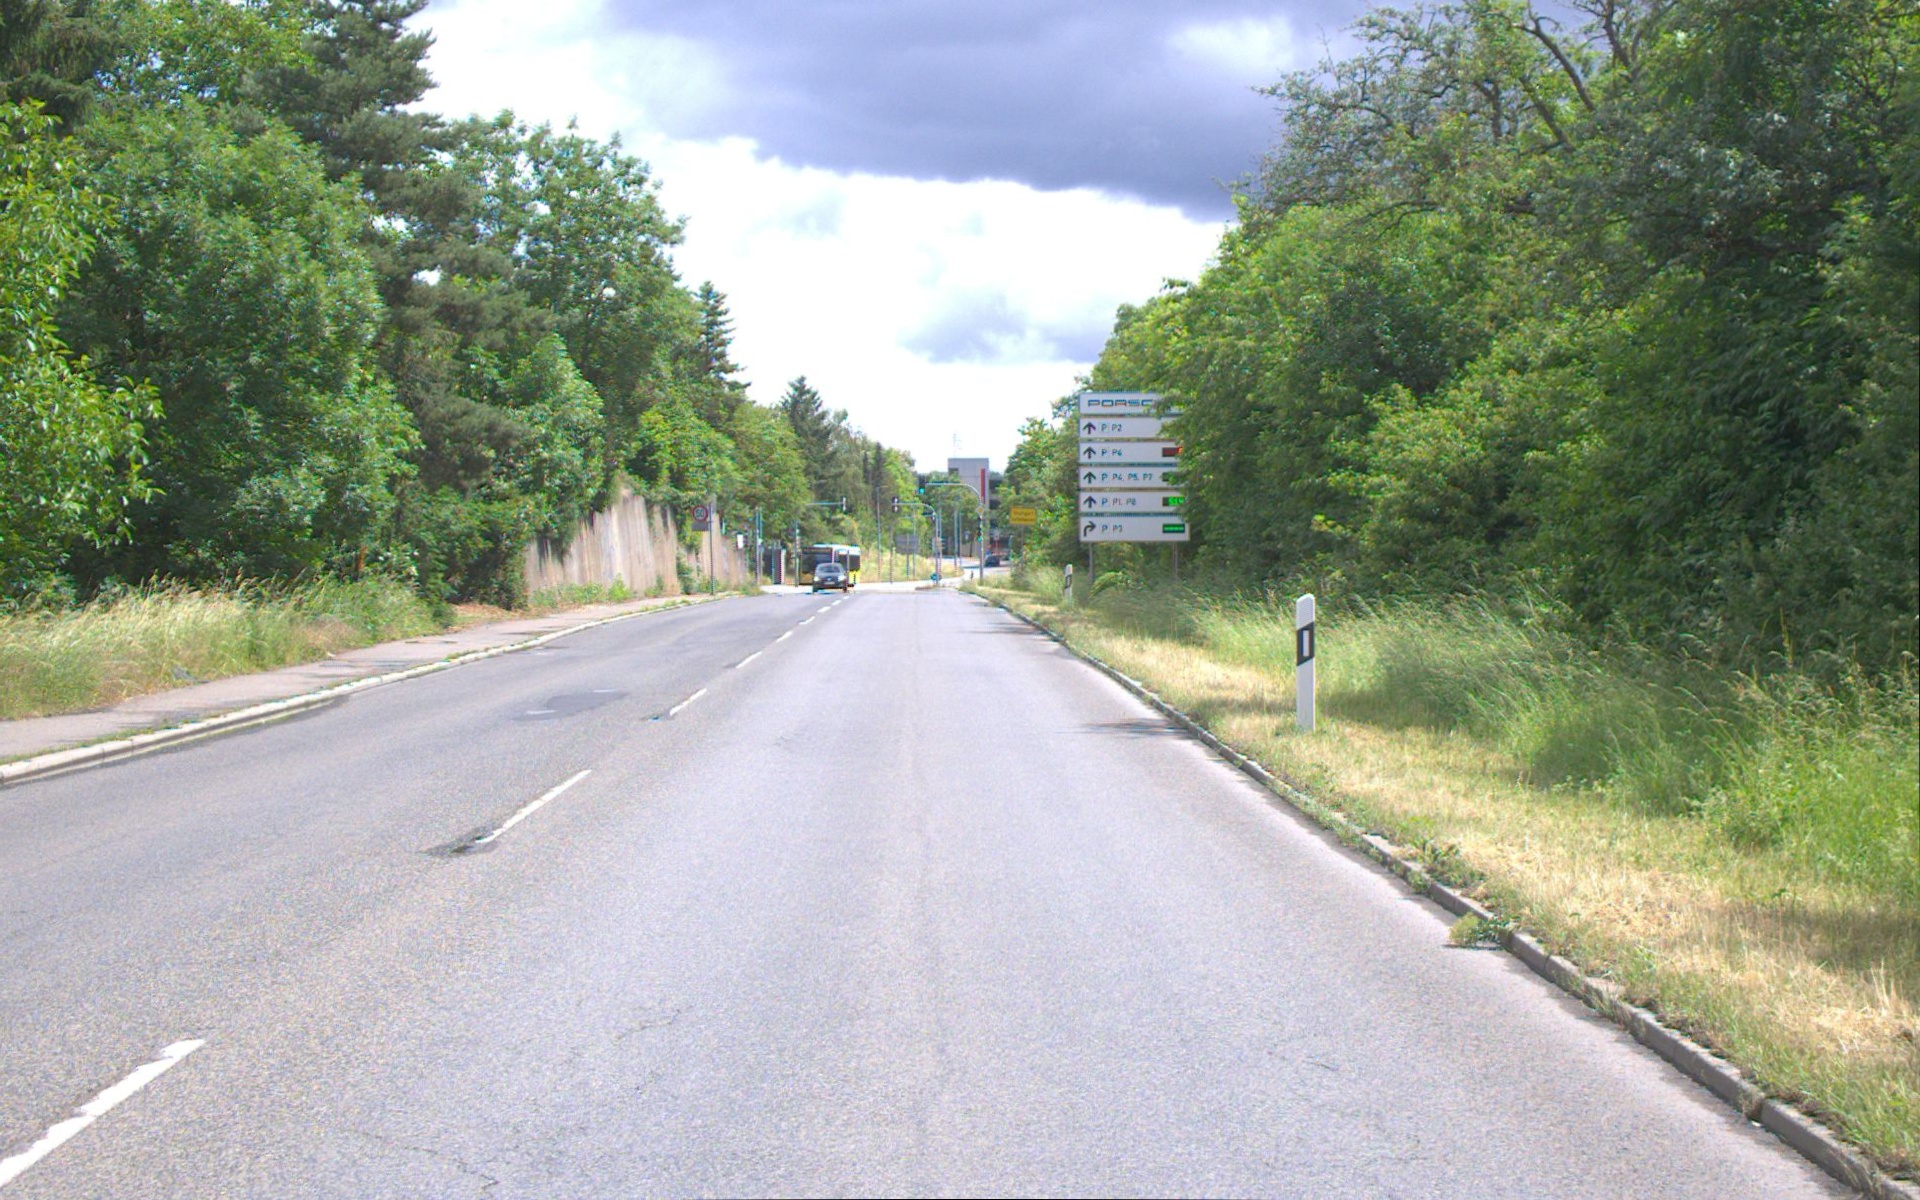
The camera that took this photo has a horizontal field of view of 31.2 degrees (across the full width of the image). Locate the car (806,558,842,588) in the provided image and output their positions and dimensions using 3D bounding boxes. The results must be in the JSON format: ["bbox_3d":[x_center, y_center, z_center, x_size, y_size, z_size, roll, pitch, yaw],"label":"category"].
[{"bbox_3d":[-6.923,-1.394,175.463,1.751,1.459,4.000,-1,1,-1],"label":"car"}]
